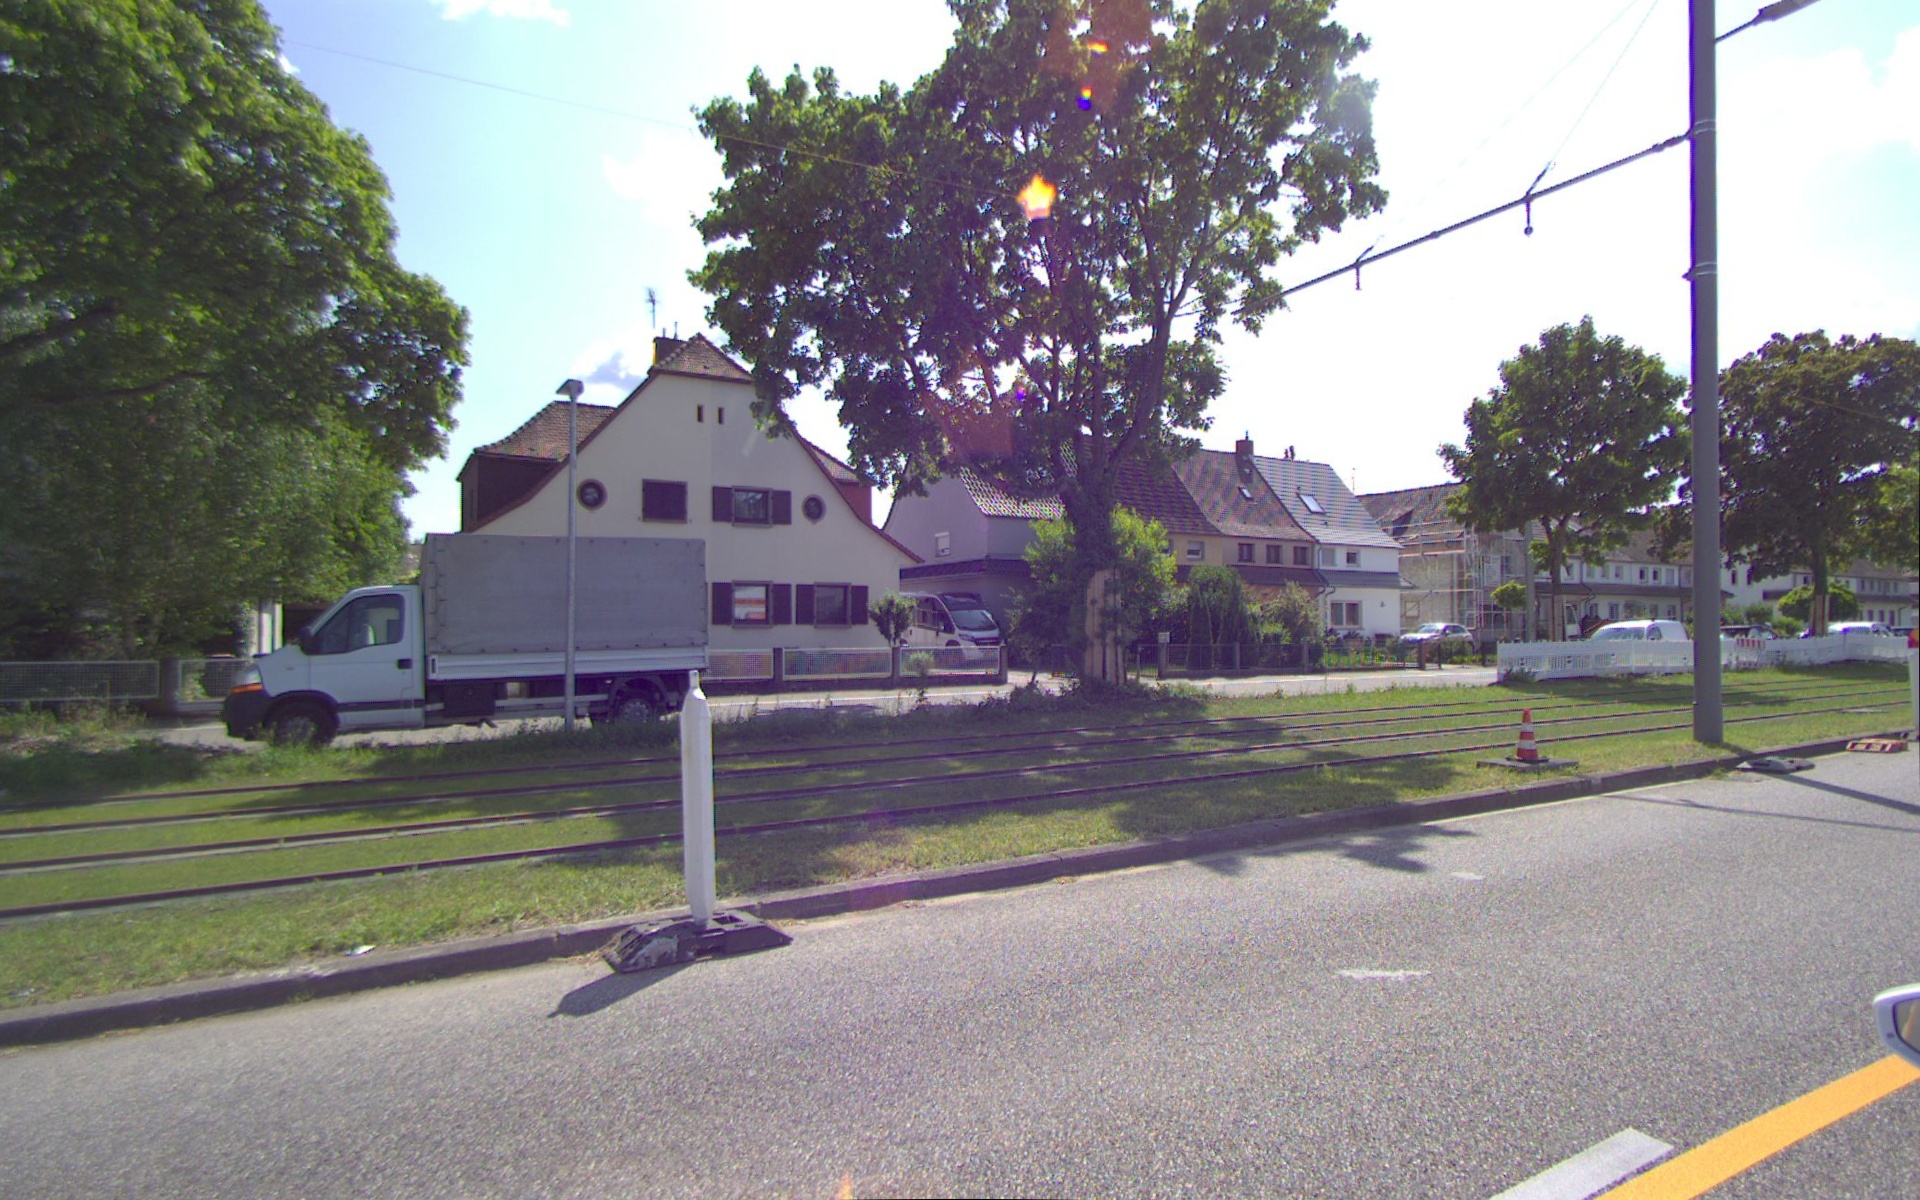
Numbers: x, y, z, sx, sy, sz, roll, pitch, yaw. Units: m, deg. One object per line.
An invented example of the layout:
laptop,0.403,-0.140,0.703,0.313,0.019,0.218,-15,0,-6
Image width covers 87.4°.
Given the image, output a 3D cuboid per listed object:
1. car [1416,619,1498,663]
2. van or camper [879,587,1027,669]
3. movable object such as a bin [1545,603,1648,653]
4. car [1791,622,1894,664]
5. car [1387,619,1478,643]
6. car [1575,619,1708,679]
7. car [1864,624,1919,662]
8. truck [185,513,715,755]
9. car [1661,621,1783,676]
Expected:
car,20.653,1.718,41.722,2.995,1.744,1.676,1,-3,-31
van or camper,-0.388,0.976,37.992,2.673,2.675,6.054,1,1,-34
movable object such as a bin,32.567,1.446,51.483,4.282,2.481,1.782,-2,-2,38
car,35.572,1.732,40.489,3.954,1.627,1.984,1,-3,-31
car,21.727,1.428,46.171,3.928,1.066,1.679,1,-3,-26
car,21.476,1.547,31.653,3.954,1.772,1.984,1,-3,-31
car,42.024,1.907,44.423,3.954,1.627,1.984,1,-3,-31
truck,-6.798,0.486,14.097,6.204,2.803,1.984,0,-4,-31
car,26.105,1.643,34.397,3.954,1.772,1.984,1,-3,-31
